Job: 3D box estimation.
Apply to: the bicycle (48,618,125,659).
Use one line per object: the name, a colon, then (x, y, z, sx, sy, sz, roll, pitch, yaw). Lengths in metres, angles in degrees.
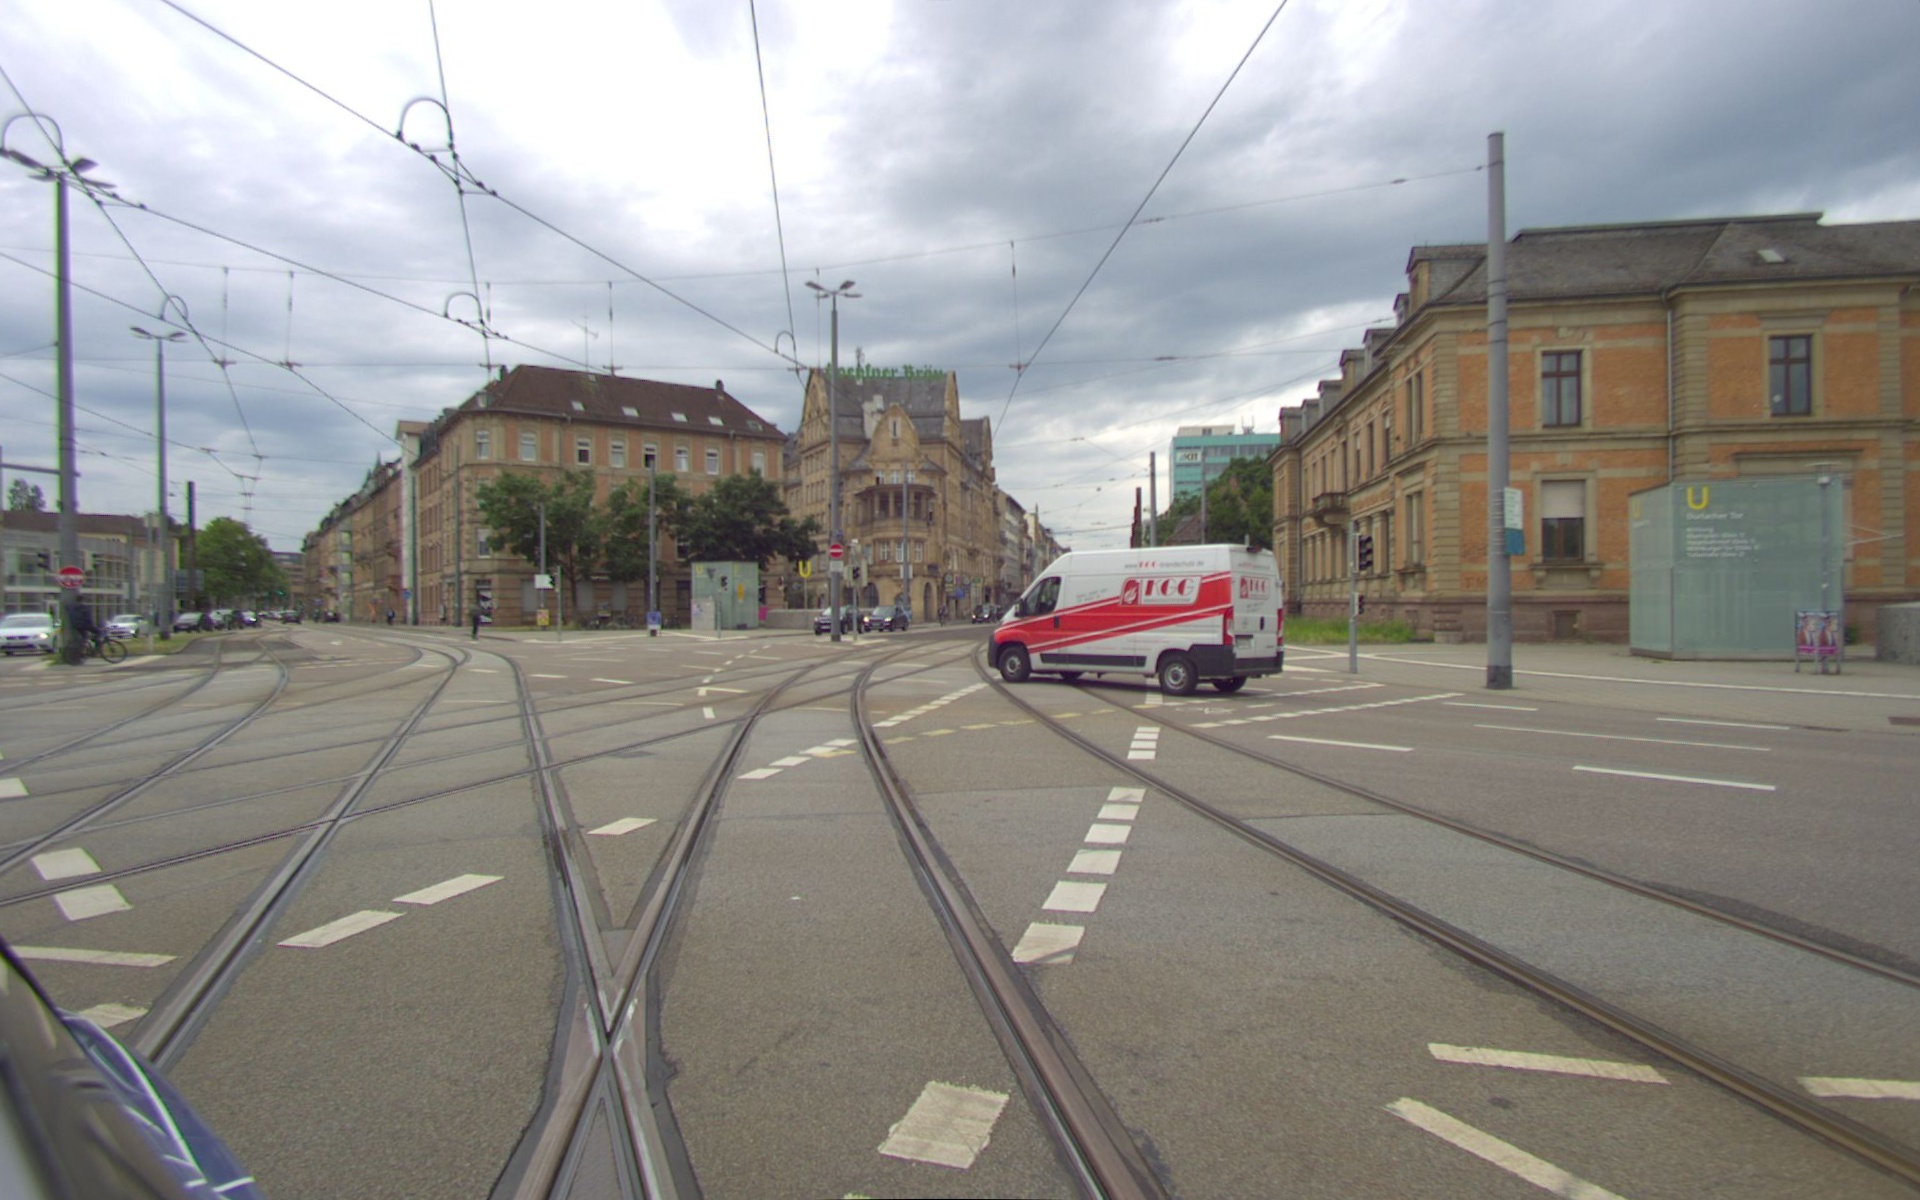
bicycle: (-24.200, 1.046, 28.056, 0.523, 1.078, 1.606, 0, 0, 15)

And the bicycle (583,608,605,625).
bicycle: (-24.193, 1.074, 66.916, 0.742, 1.038, 2.402, -1, 1, -35)

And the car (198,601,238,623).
car: (-61.470, 0.964, 83.904, 2.334, 1.768, 5.144, -1, 0, -32)

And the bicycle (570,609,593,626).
bicycle: (-24.850, 1.124, 66.457, 0.823, 1.038, 2.402, -1, 1, -35)

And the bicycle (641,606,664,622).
bicycle: (-20.957, 0.918, 68.898, 0.742, 1.038, 2.402, -1, 1, -35)

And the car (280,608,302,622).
car: (-78.440, 1.738, 118.664, 1.859, 1.481, 4.474, -1, 1, -37)

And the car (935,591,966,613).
car: (-0.771, 0.143, 84.593, 1.813, 1.773, 3.989, 0, 0, 10)

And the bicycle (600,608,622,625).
bicycle: (-23.321, 1.089, 67.578, 0.742, 1.038, 2.402, -1, 1, -35)

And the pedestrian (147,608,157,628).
pedestrian: (-69.375, 1.563, 86.919, 0.652, 1.693, 0.652, 0, -1, -37)

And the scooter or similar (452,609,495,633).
scooter or similar: (-24.590, 1.052, 51.175, 1.877, 1.174, 0.575, -1, 0, -7)

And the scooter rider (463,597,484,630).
scooter rider: (-24.606, 0.656, 51.164, 0.809, 1.640, 0.570, -1, 0, -8)

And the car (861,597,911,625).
car: (-4.626, 0.681, 64.067, 2.138, 1.727, 4.912, -1, 0, 8)

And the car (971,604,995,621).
car: (2.181, 1.145, 93.885, 1.811, 1.476, 3.992, -1, 1, 8)

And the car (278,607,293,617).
car: (-107.972, 1.937, 161.929, 1.787, 1.442, 4.026, -1, 1, -37)

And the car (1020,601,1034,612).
car: (9.859, 0.978, 148.276, 1.811, 1.476, 3.992, -1, 1, 8)

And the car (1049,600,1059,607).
car: (19.582, 0.705, 210.260, 1.811, 1.476, 3.992, -1, 1, 8)

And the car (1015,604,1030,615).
car: (8.881, 1.304, 142.869, 1.811, 1.476, 3.992, -1, 1, 8)

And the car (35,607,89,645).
car: (-50.201, 1.417, 56.633, 1.968, 2.029, 4.008, -1, 0, -38)

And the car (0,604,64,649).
car: (-32.956, 0.905, 35.669, 1.943, 1.467, 4.199, -1, 0, -41)

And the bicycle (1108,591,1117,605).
bicycle: (19.878, -0.255, 131.964, 1.074, 1.763, 3.075, -1, 0, 11)

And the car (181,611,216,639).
car: (-58.216, 1.887, 77.401, 1.967, 2.029, 4.010, -1, 1, -35)

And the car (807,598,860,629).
car: (-7.108, 0.721, 57.251, 1.977, 1.623, 4.235, -1, 1, 8)

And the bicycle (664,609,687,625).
bicycle: (-19.566, 1.150, 69.633, 0.742, 1.038, 2.402, 0, 0, -35)

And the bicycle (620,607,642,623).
bicycle: (-22.098, 1.022, 67.924, 0.742, 1.038, 2.402, -1, 1, -35)

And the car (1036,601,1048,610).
car: (14.673, 0.978, 181.393, 1.811, 1.476, 3.992, -1, 1, 8)

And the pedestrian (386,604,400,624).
pedestrian: (-52.334, 1.289, 93.419, 0.715, 1.846, 0.914, -1, 0, 19)

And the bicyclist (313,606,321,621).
bicyclist: (-81.389, 1.746, 128.034, 0.811, 1.880, 0.926, 0, 0, -35)

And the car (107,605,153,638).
car: (-54.135, 1.386, 66.052, 1.967, 2.029, 4.010, -1, 1, -35)

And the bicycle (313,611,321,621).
bicycle: (-81.387, 2.035, 128.048, 0.786, 1.302, 2.417, 0, 0, -35)

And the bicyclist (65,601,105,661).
bicyclist: (-24.205, 0.848, 28.007, 0.513, 1.651, 0.652, 0, 0, 15)

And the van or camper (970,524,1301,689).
van or camper: (3.010, 0.118, 18.304, 5.571, 2.547, 2.255, 0, -1, 41)

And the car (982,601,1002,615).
car: (3.661, 0.913, 113.898, 1.811, 1.476, 3.992, -1, 1, 8)
